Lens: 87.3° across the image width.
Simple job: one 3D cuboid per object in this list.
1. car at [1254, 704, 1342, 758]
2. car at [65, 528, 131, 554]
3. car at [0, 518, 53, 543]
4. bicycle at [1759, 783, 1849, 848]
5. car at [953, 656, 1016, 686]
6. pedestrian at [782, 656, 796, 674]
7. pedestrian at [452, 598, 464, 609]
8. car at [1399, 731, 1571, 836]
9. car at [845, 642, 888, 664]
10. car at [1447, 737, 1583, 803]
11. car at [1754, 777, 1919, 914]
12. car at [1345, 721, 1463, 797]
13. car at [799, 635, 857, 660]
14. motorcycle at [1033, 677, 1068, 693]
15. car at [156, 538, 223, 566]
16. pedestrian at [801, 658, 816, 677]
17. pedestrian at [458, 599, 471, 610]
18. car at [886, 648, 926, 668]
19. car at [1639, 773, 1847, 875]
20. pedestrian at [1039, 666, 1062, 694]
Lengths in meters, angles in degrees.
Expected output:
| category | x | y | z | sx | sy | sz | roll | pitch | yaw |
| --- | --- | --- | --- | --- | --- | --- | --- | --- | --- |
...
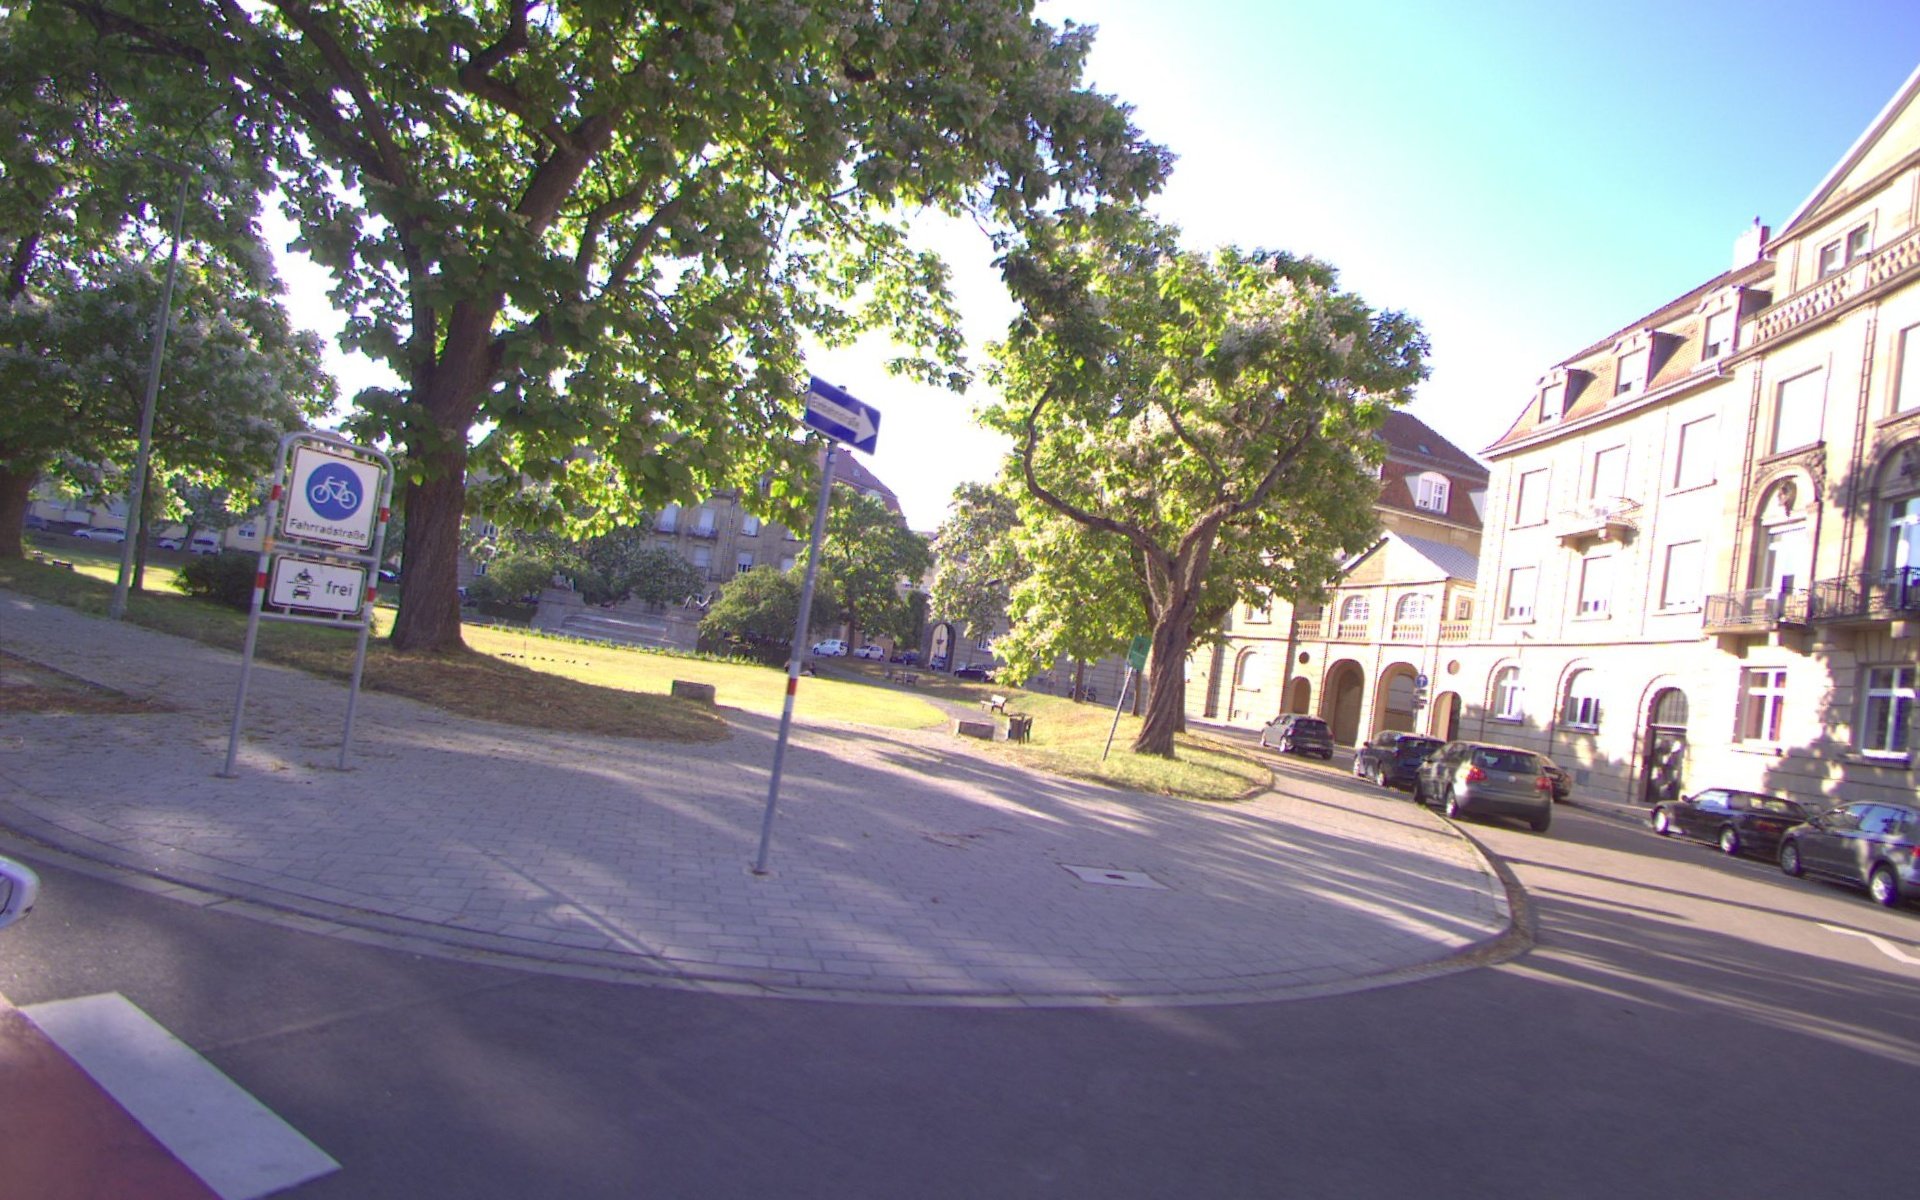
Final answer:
| category | x | y | z | sx | sy | sz | roll | pitch | yaw |
| --- | --- | --- | --- | --- | --- | --- | --- | --- | --- |
| car | 12.377 | 4.777 | 37.122 | 1.785 | 1.433 | 4.378 | 8 | -3 | 2 |
| car | -74.539 | -5.097 | 87.078 | 3.961 | 1.569 | 1.598 | 10 | -3 | -31 |
| car | -83.240 | -6.242 | 88.772 | 4.496 | 1.586 | 1.860 | 10 | -4 | -40 |
| bicycle | 21.277 | 5.407 | 25.421 | 0.602 | 1.243 | 2.127 | 7 | -3 | 8 |
| car | 1.653 | 4.939 | 70.278 | 1.803 | 1.433 | 4.908 | 9 | -4 | -33 |
| pedestrian | -9.428 | 3.561 | 55.435 | 0.570 | 0.890 | 0.674 | 10 | -3 | -20 |
| pedestrian | -42.195 | 0.273 | 84.561 | 0.655 | 0.803 | 0.588 | 7 | -2 | 21 |
| car | 10.411 | 3.590 | 20.333 | 1.810 | 1.433 | 4.375 | 7 | -3 | 12 |
| car | -9.135 | 5.198 | 98.615 | 1.790 | 1.641 | 4.222 | 6 | -4 | 33 |
| car | 18.113 | 5.521 | 33.112 | 1.786 | 1.433 | 4.656 | 8 | -3 | 1 |
| car | 15.326 | 4.043 | 16.513 | 1.768 | 1.617 | 4.462 | 7 | -3 | 14 |
| car | 11.476 | 4.065 | 26.297 | 1.537 | 1.433 | 4.447 | 7 | -3 | 9 |
| car | -10.981 | 3.918 | 83.493 | 4.878 | 1.433 | 1.814 | 5 | -4 | 39 |
| motorcycle | 5.253 | 4.948 | 58.518 | 1.830 | 0.678 | 0.682 | 6 | -3 | 35 |
| car | -72.465 | -4.486 | 94.679 | 4.469 | 1.765 | 1.871 | 9 | -3 | -23 |
| pedestrian | -8.365 | 3.726 | 55.536 | 0.570 | 0.890 | 0.674 | 10 | -3 | -20 |
| pedestrian | -41.507 | 0.375 | 84.308 | 0.655 | 0.803 | 0.588 | 7 | -2 | 21 |
| car | -5.542 | 6.009 | 103.923 | 1.790 | 1.641 | 4.222 | 6 | -4 | 33 |
| car | 16.575 | 4.696 | 21.601 | 1.476 | 1.338 | 4.462 | 7 | -3 | 10 |
| pedestrian | 5.251 | 4.640 | 58.561 | 0.935 | 1.491 | 0.682 | 6 | -3 | 34 |
